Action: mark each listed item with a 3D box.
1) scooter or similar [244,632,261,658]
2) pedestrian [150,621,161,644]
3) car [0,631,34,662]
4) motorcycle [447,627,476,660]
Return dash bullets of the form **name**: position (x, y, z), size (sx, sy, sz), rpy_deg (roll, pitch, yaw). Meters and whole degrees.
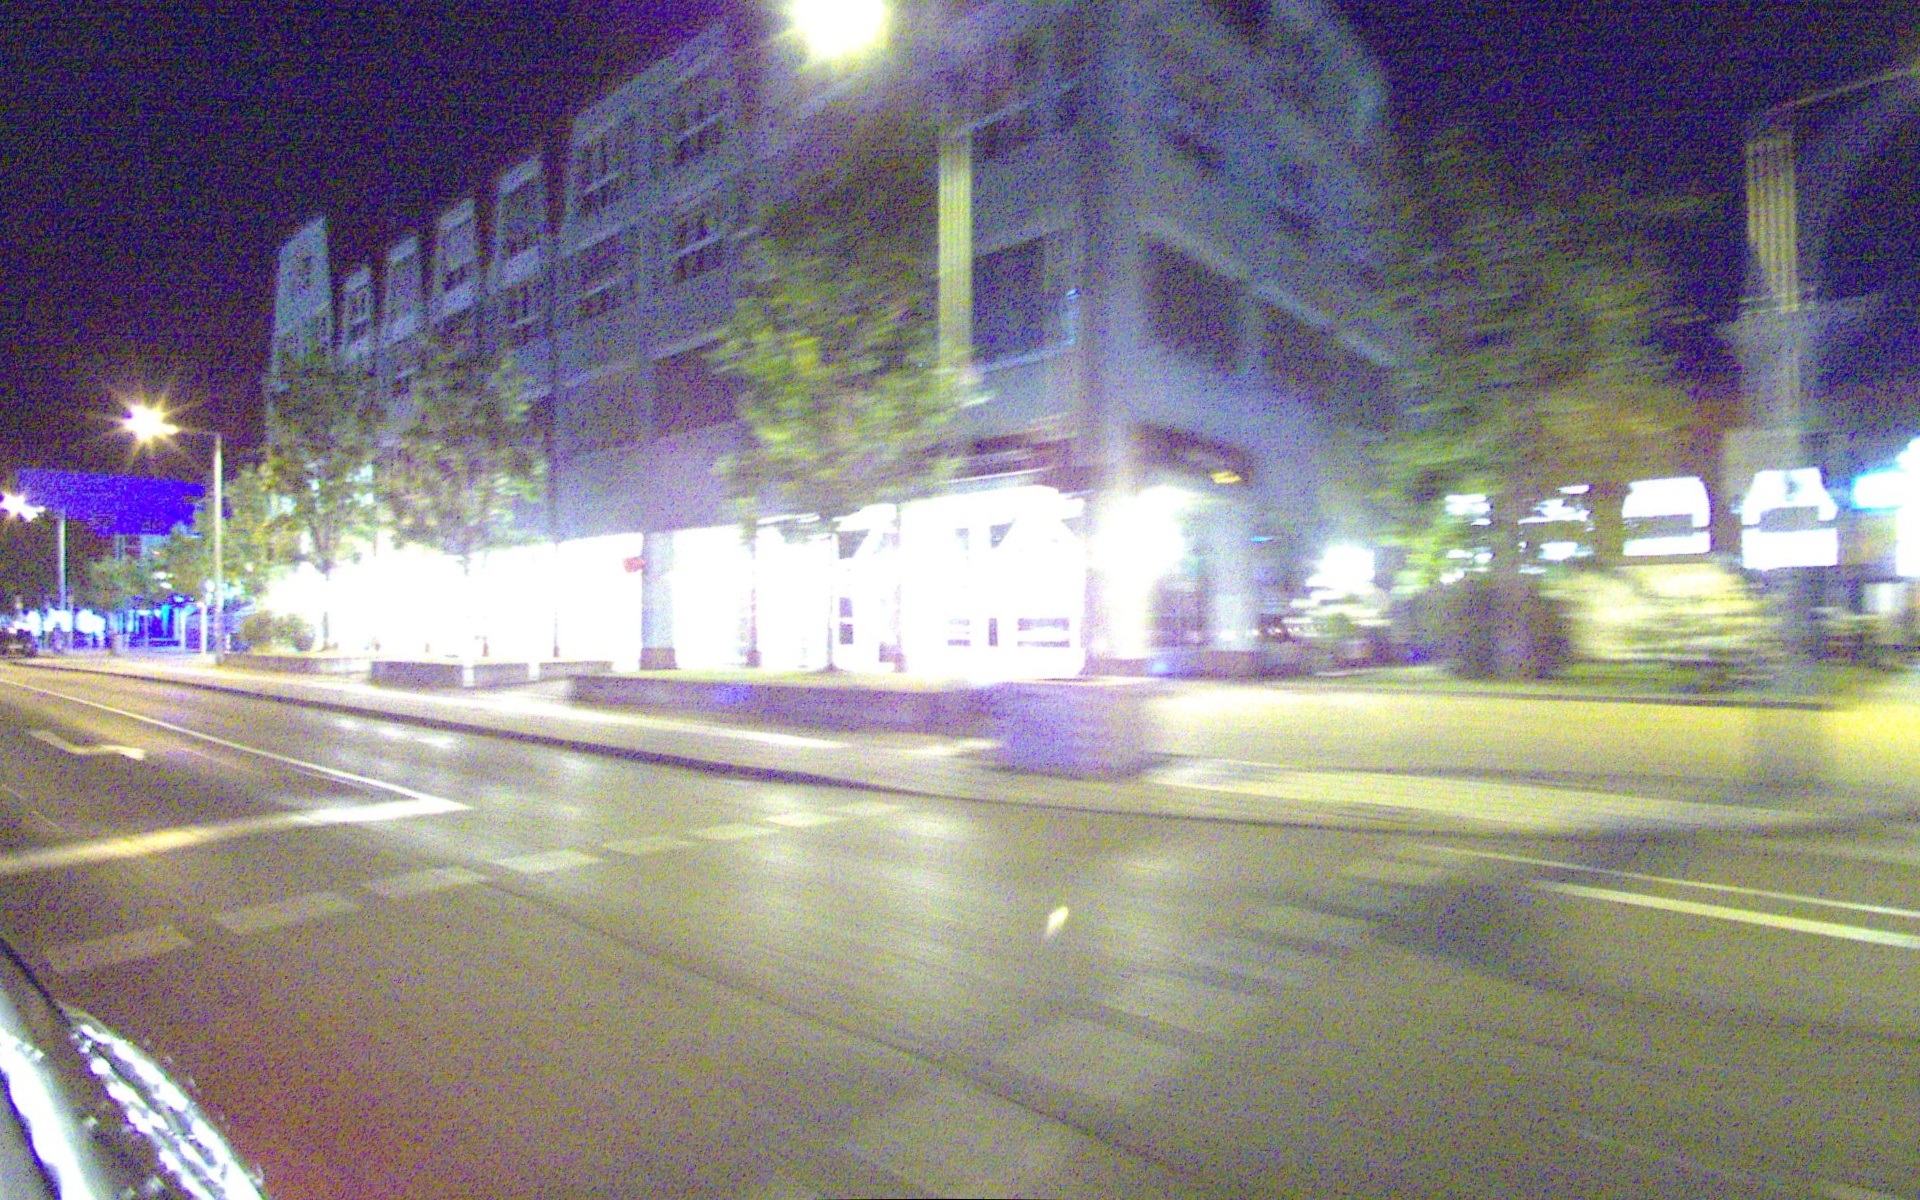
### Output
- **scooter or similar**: position (-33.958, 2.153, 48.555), size (1.344, 1.230, 0.383), rpy_deg (-2, -2, 44)
- **pedestrian**: position (-58.202, 2.378, 73.217), size (0.632, 1.649, 0.473), rpy_deg (-2, -2, 42)
- **car**: position (-46.957, 2.276, 49.749), size (4.494, 1.424, 1.723), rpy_deg (-2, -1, 42)
- **motorcycle**: position (-15.707, 1.355, 31.876), size (0.472, 1.028, 1.678), rpy_deg (1, -2, -38)
